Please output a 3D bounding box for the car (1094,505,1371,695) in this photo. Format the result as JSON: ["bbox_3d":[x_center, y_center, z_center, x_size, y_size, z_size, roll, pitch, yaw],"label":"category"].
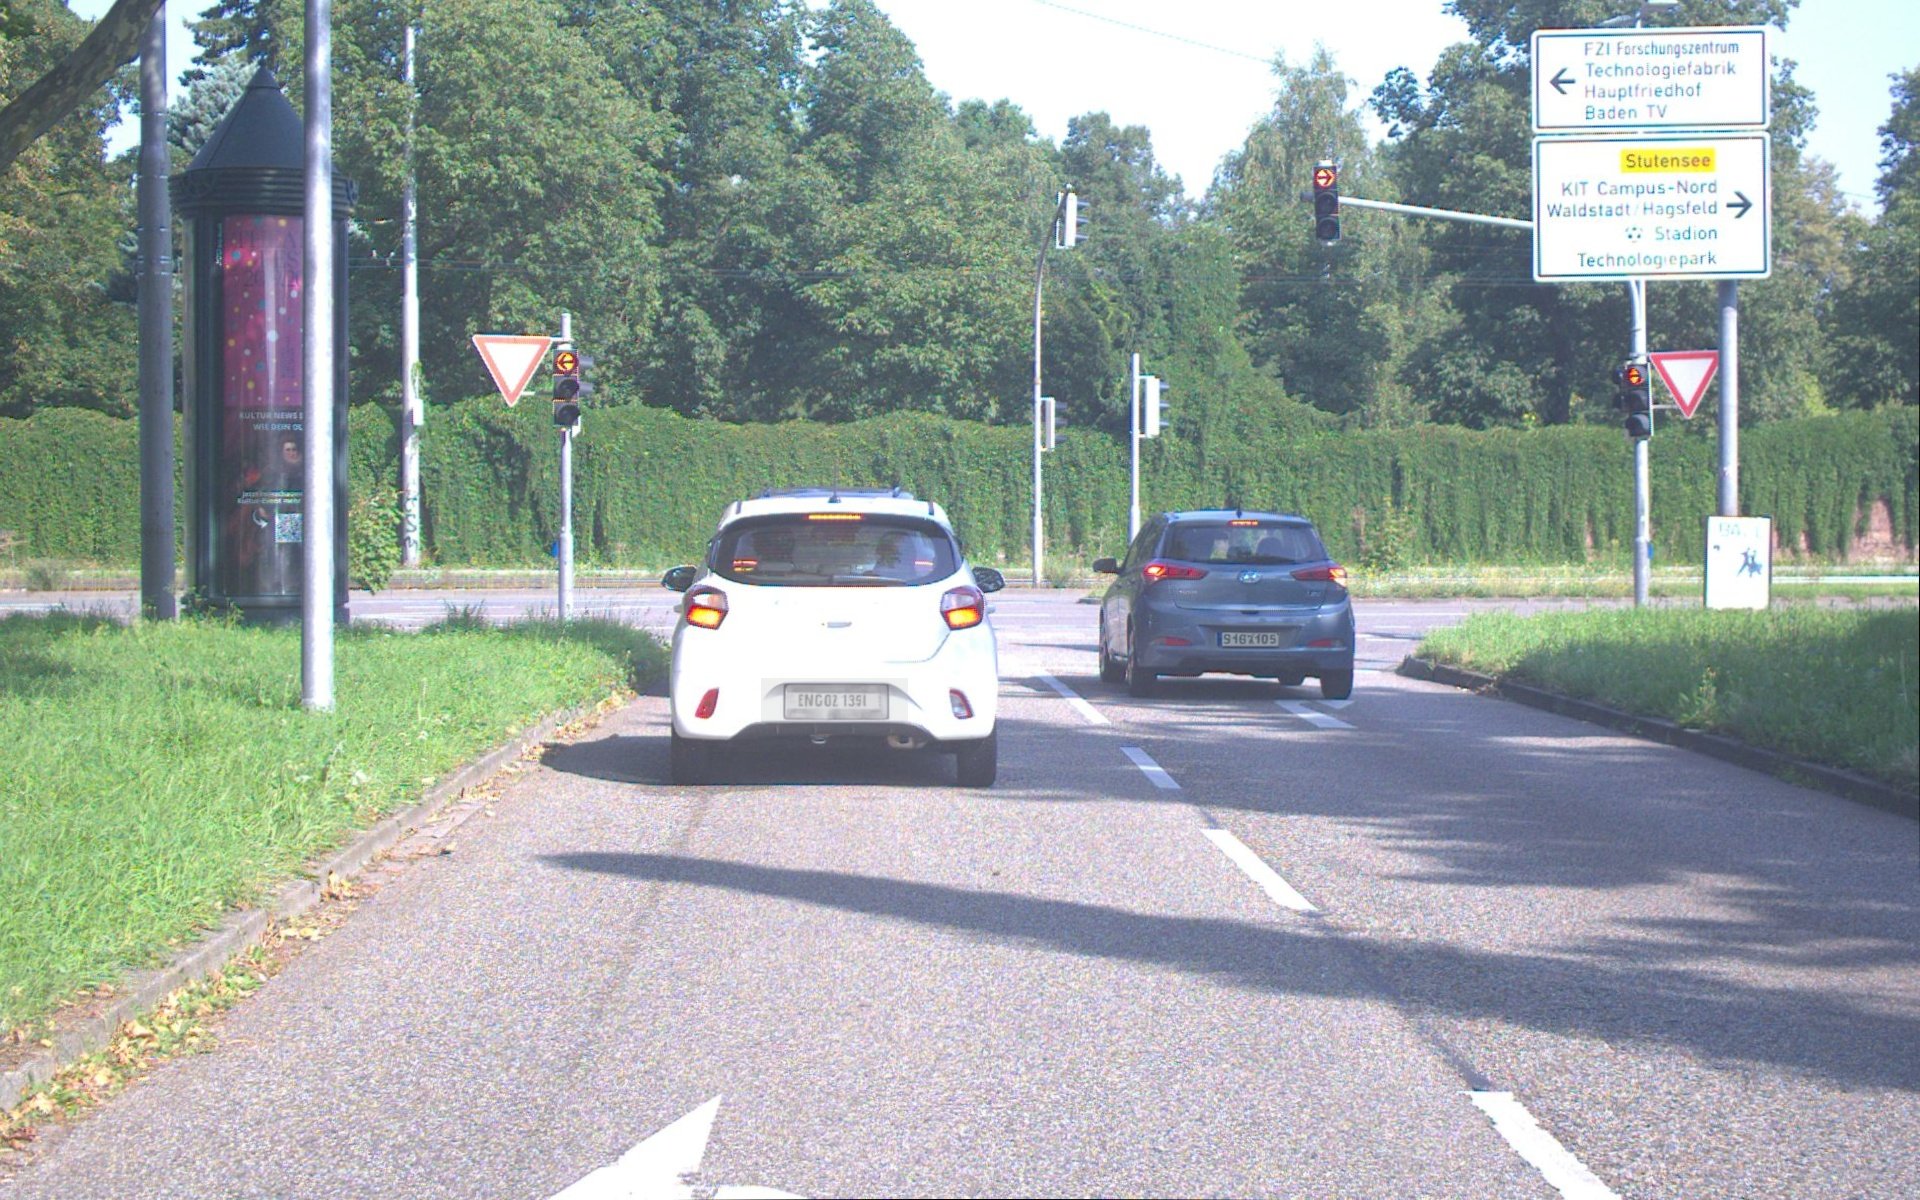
[{"bbox_3d":[2.125,-0.055,27.803,1.797,1.396,4.001,1,2,-2],"label":"car"}]

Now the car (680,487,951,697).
[{"bbox_3d":[-1.024,-0.112,26.171,1.687,1.457,3.849,1,2,3],"label":"car"}]

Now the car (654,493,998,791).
[{"bbox_3d":[-0.669,0.153,19.026,1.687,1.457,4.000,1,2,0],"label":"car"}]
